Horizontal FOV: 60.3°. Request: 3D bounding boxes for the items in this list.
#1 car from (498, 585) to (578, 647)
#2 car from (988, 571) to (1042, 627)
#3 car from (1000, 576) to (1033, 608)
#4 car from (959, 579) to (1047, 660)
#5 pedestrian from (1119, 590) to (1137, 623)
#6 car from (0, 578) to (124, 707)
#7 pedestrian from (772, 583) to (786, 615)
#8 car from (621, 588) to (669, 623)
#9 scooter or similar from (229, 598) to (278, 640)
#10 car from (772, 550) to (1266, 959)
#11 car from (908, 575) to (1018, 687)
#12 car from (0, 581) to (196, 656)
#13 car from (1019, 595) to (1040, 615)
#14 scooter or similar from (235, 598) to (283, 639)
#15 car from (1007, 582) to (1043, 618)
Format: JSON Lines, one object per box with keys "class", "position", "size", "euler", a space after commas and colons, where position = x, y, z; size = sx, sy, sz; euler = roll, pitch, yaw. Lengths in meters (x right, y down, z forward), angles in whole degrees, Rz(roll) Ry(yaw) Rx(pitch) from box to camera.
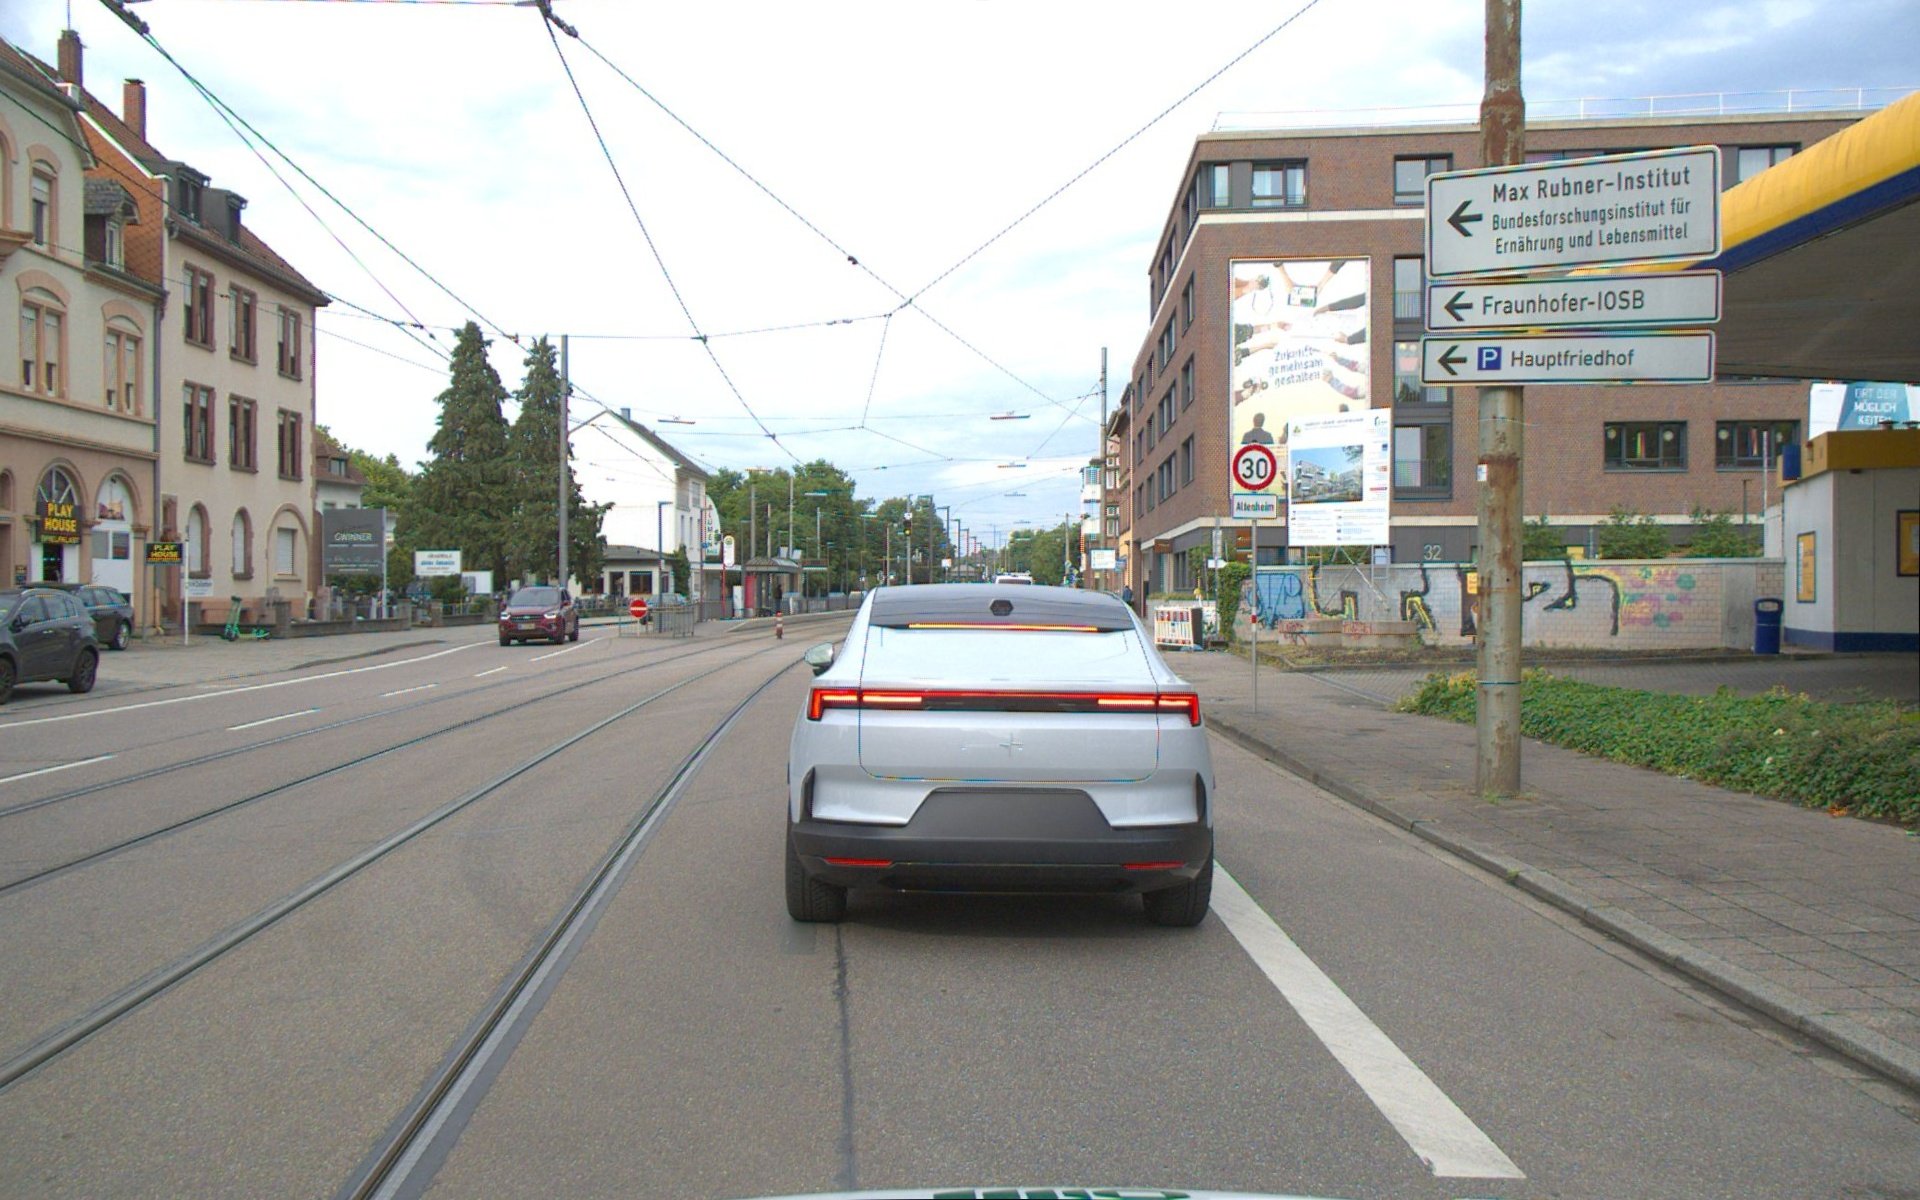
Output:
{"class": "car", "position": [-12.414, 0.448, 48.927], "size": [1.808, 1.754, 4.399], "euler": [0, 0, -8]}
{"class": "car", "position": [2.492, -0.058, 75.672], "size": [2.181, 2.444, 5.122], "euler": [1, 0, -1]}
{"class": "car", "position": [3.707, -0.534, 108.916], "size": [1.953, 2.049, 3.999], "euler": [1, 0, -1]}
{"class": "car", "position": [0.997, 0.439, 40.018], "size": [1.953, 1.847, 3.999], "euler": [-1, 0, -1]}
{"class": "pedestrian", "position": [9.878, 0.391, 97.324], "size": [0.940, 1.882, 0.976], "euler": [-2, 1, 8]}
{"class": "car", "position": [-14.932, 0.593, 25.511], "size": [1.997, 1.780, 4.531], "euler": [2, 1, -5]}
{"class": "pedestrian", "position": [-9.563, -0.066, 87.262], "size": [0.602, 1.694, 0.698], "euler": [1, 0, 5]}
{"class": "car", "position": [-14.711, 0.255, 77.446], "size": [1.755, 1.556, 4.136], "euler": [-2, 0, -5]}
{"class": "scooter or similar", "position": [-19.420, 0.520, 45.486], "size": [1.162, 1.121, 0.522], "euler": [1, 0, -32]}
{"class": "car", "position": [0.176, 0.634, 8.619], "size": [1.959, 1.608, 3.998], "euler": [1, 0, -2]}
{"class": "car", "position": [0.109, 0.493, 27.693], "size": [1.646, 1.717, 3.825], "euler": [1, 0, 3]}
{"class": "car", "position": [-18.880, 0.381, 36.441], "size": [1.953, 1.519, 4.900], "euler": [0, 0, -2]}
{"class": "car", "position": [7.204, 0.518, 171.108], "size": [1.953, 2.049, 3.999], "euler": [1, 0, -1]}
{"class": "scooter or similar", "position": [-19.625, 0.519, 46.298], "size": [1.162, 1.121, 0.522], "euler": [1, 0, -32]}
{"class": "car", "position": [3.849, 0.016, 98.519], "size": [1.953, 2.049, 3.999], "euler": [1, 0, -1]}
